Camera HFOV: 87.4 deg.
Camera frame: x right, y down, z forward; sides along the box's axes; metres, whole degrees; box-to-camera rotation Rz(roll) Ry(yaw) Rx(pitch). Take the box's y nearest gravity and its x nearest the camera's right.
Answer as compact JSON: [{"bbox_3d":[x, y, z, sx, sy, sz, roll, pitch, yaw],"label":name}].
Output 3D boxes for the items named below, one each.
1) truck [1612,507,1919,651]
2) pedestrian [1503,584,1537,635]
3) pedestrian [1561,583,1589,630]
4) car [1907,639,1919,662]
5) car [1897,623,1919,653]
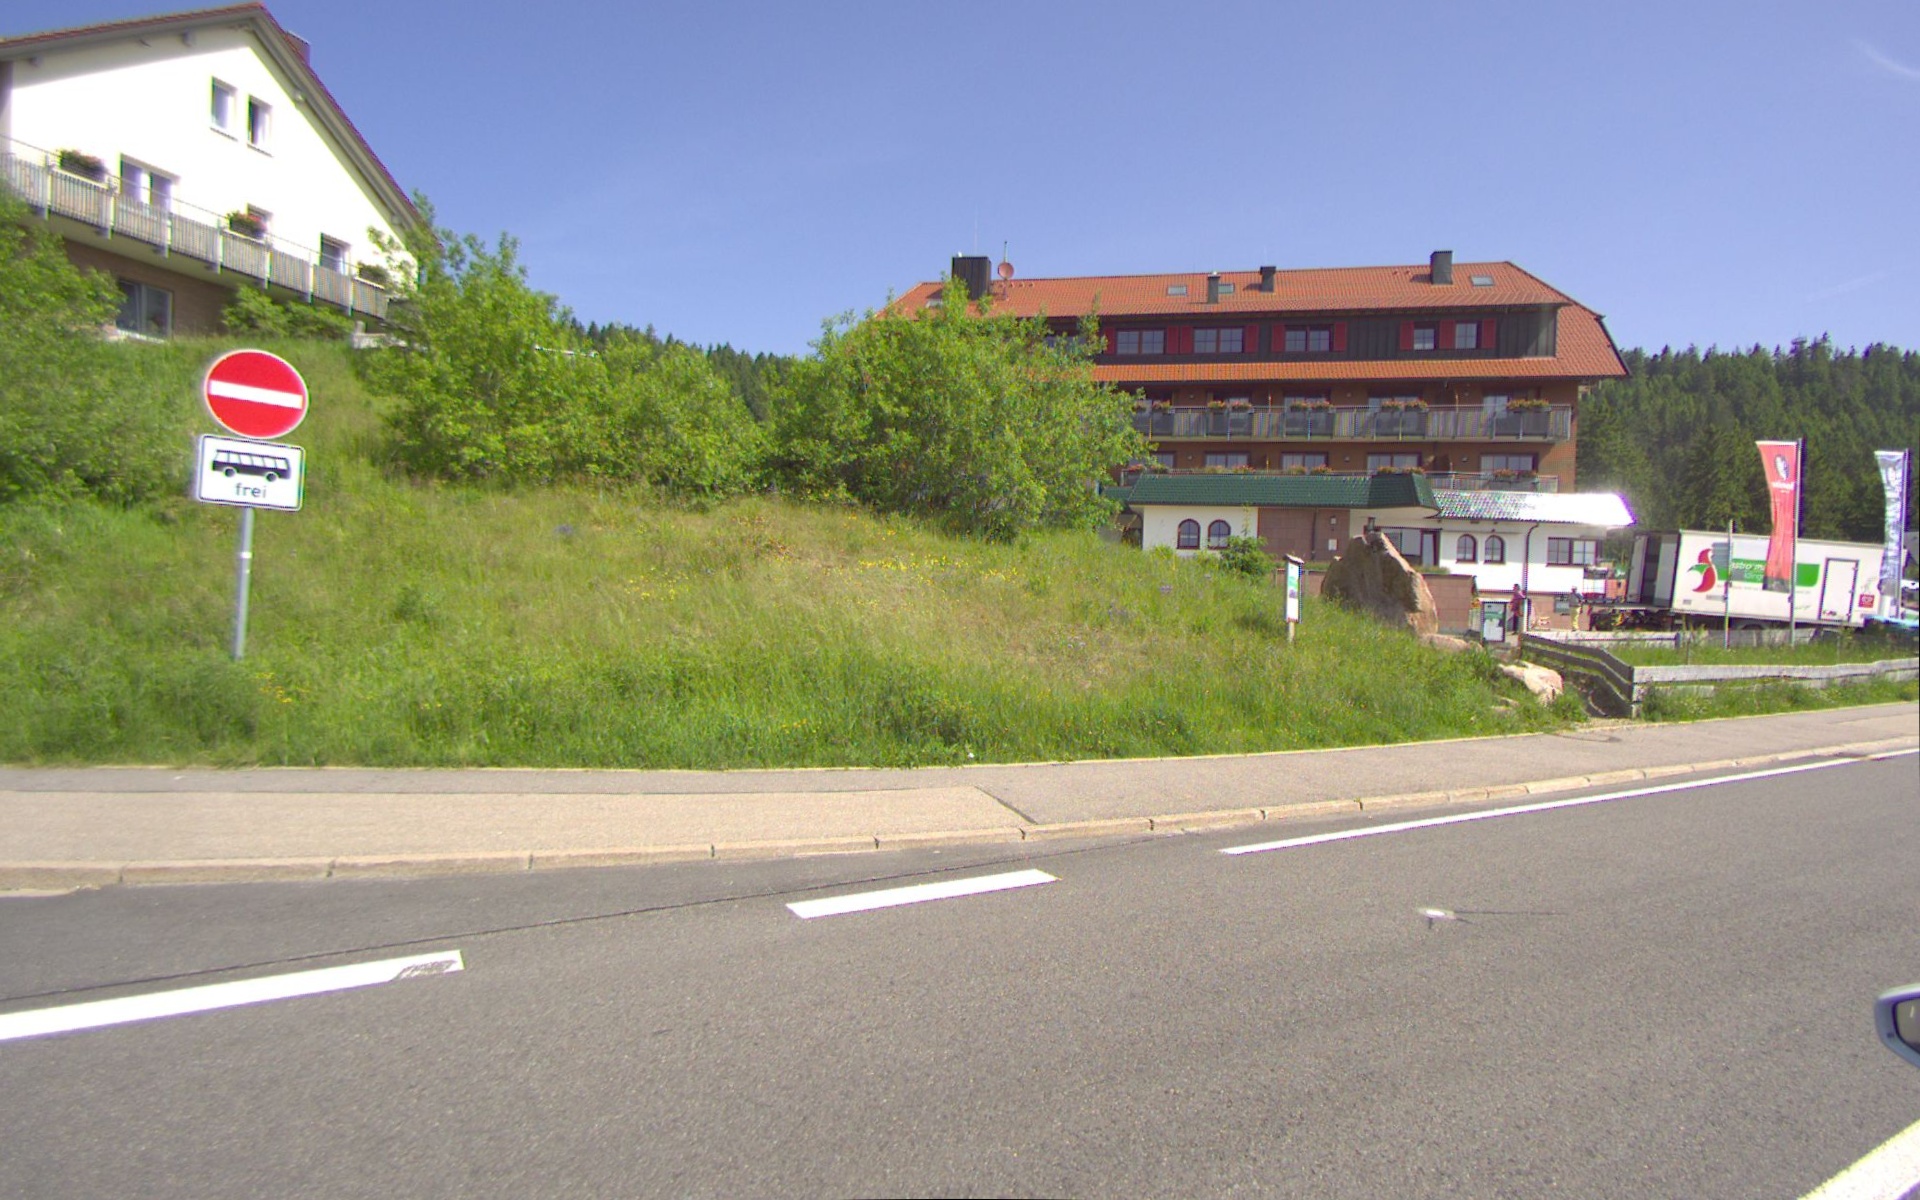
[{"bbox_3d":[27.368,-0.700,33.584,8.596,4.025,3.071,4,3,5],"label":"truck"},{"bbox_3d":[19.703,0.341,35.354,0.782,1.739,0.699,2,0,3],"label":"pedestrian"},{"bbox_3d":[22.557,0.240,36.857,0.640,1.712,0.575,2,0,3],"label":"pedestrian"},{"bbox_3d":[60.780,3.150,61.301,3.920,1.389,1.813,2,0,18],"label":"car"},{"bbox_3d":[58.279,2.320,59.250,3.920,1.726,1.827,2,0,17],"label":"car"}]
